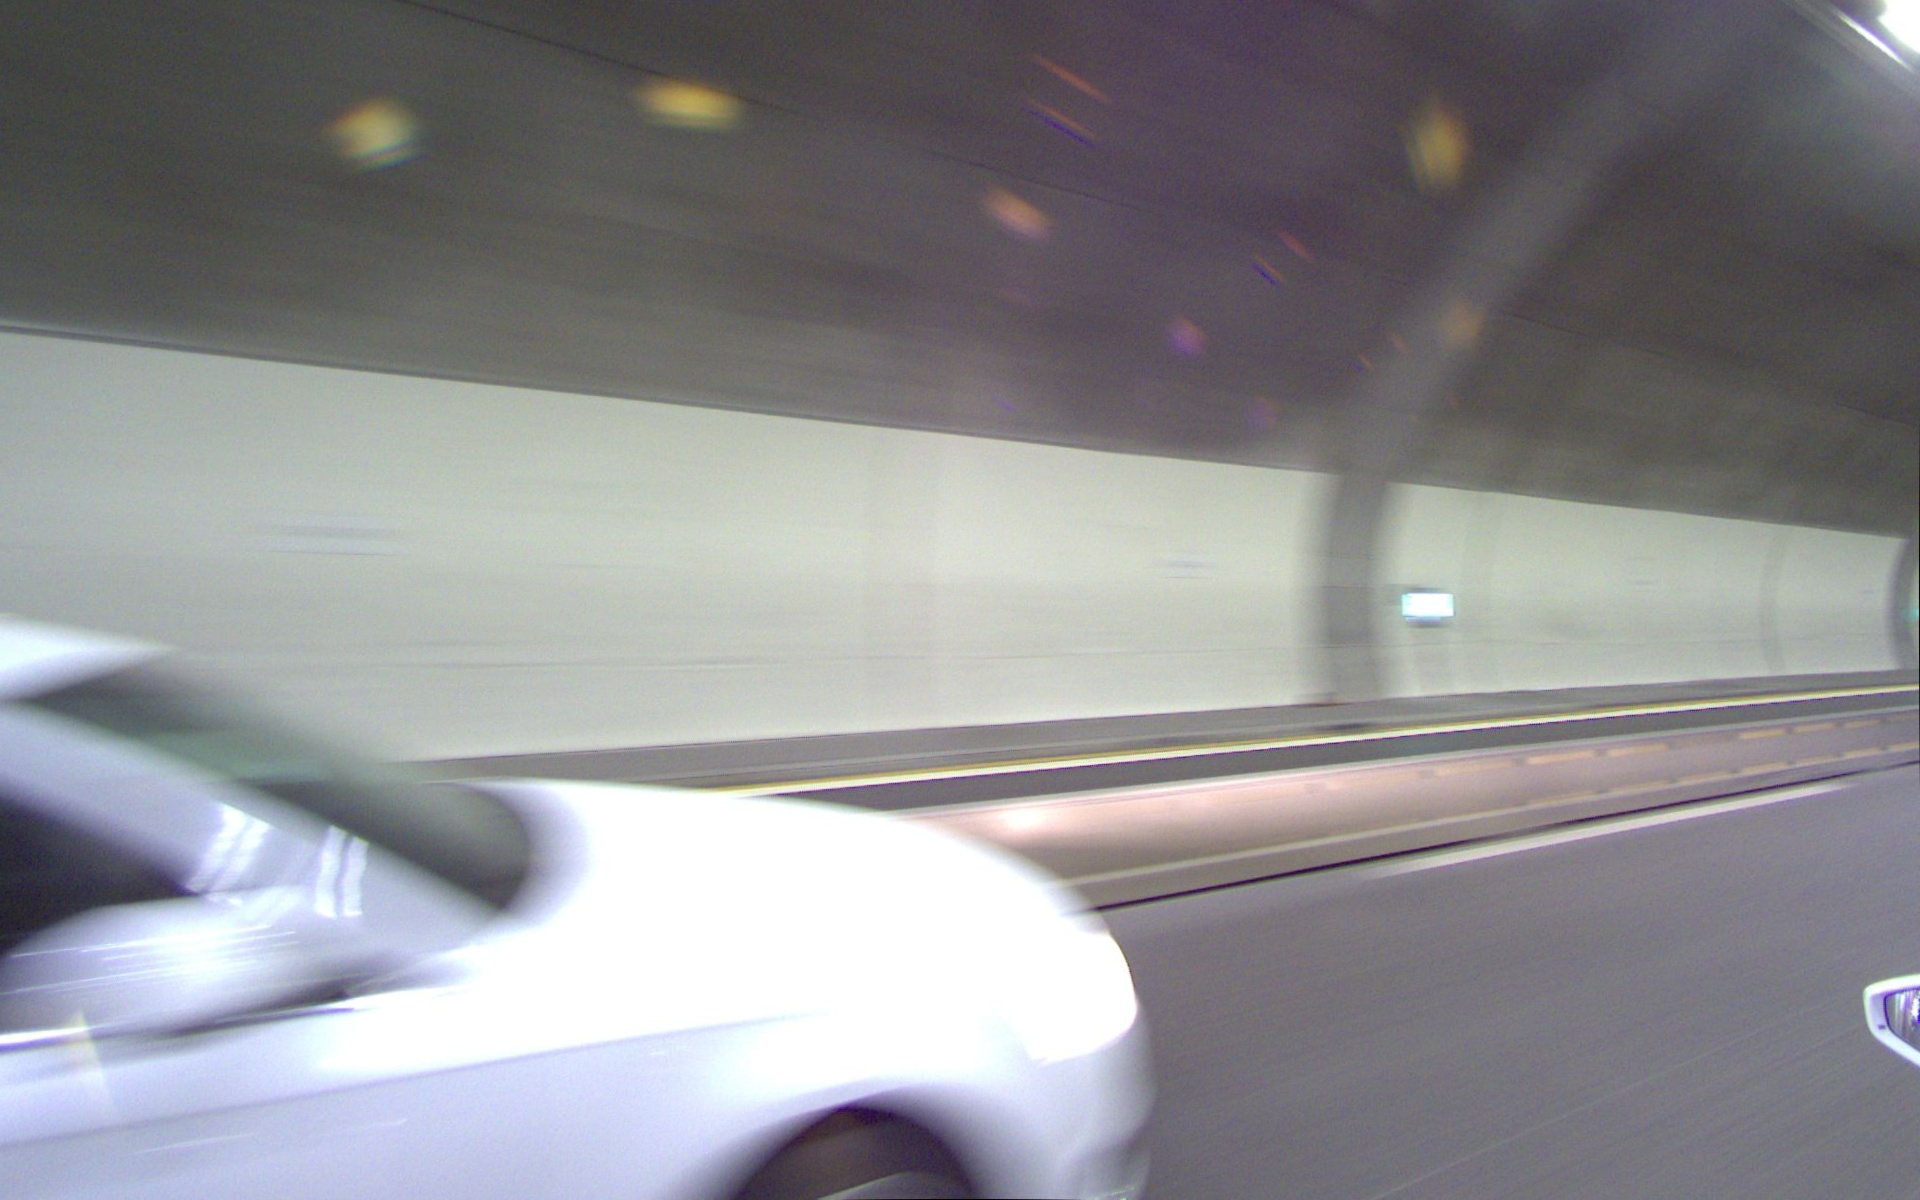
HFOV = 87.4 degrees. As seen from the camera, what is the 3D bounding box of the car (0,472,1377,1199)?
[{"bbox_3d":[-1.683,0.635,1.702,4.886,1.504,1.894,1,-1,-31],"label":"car"}]
